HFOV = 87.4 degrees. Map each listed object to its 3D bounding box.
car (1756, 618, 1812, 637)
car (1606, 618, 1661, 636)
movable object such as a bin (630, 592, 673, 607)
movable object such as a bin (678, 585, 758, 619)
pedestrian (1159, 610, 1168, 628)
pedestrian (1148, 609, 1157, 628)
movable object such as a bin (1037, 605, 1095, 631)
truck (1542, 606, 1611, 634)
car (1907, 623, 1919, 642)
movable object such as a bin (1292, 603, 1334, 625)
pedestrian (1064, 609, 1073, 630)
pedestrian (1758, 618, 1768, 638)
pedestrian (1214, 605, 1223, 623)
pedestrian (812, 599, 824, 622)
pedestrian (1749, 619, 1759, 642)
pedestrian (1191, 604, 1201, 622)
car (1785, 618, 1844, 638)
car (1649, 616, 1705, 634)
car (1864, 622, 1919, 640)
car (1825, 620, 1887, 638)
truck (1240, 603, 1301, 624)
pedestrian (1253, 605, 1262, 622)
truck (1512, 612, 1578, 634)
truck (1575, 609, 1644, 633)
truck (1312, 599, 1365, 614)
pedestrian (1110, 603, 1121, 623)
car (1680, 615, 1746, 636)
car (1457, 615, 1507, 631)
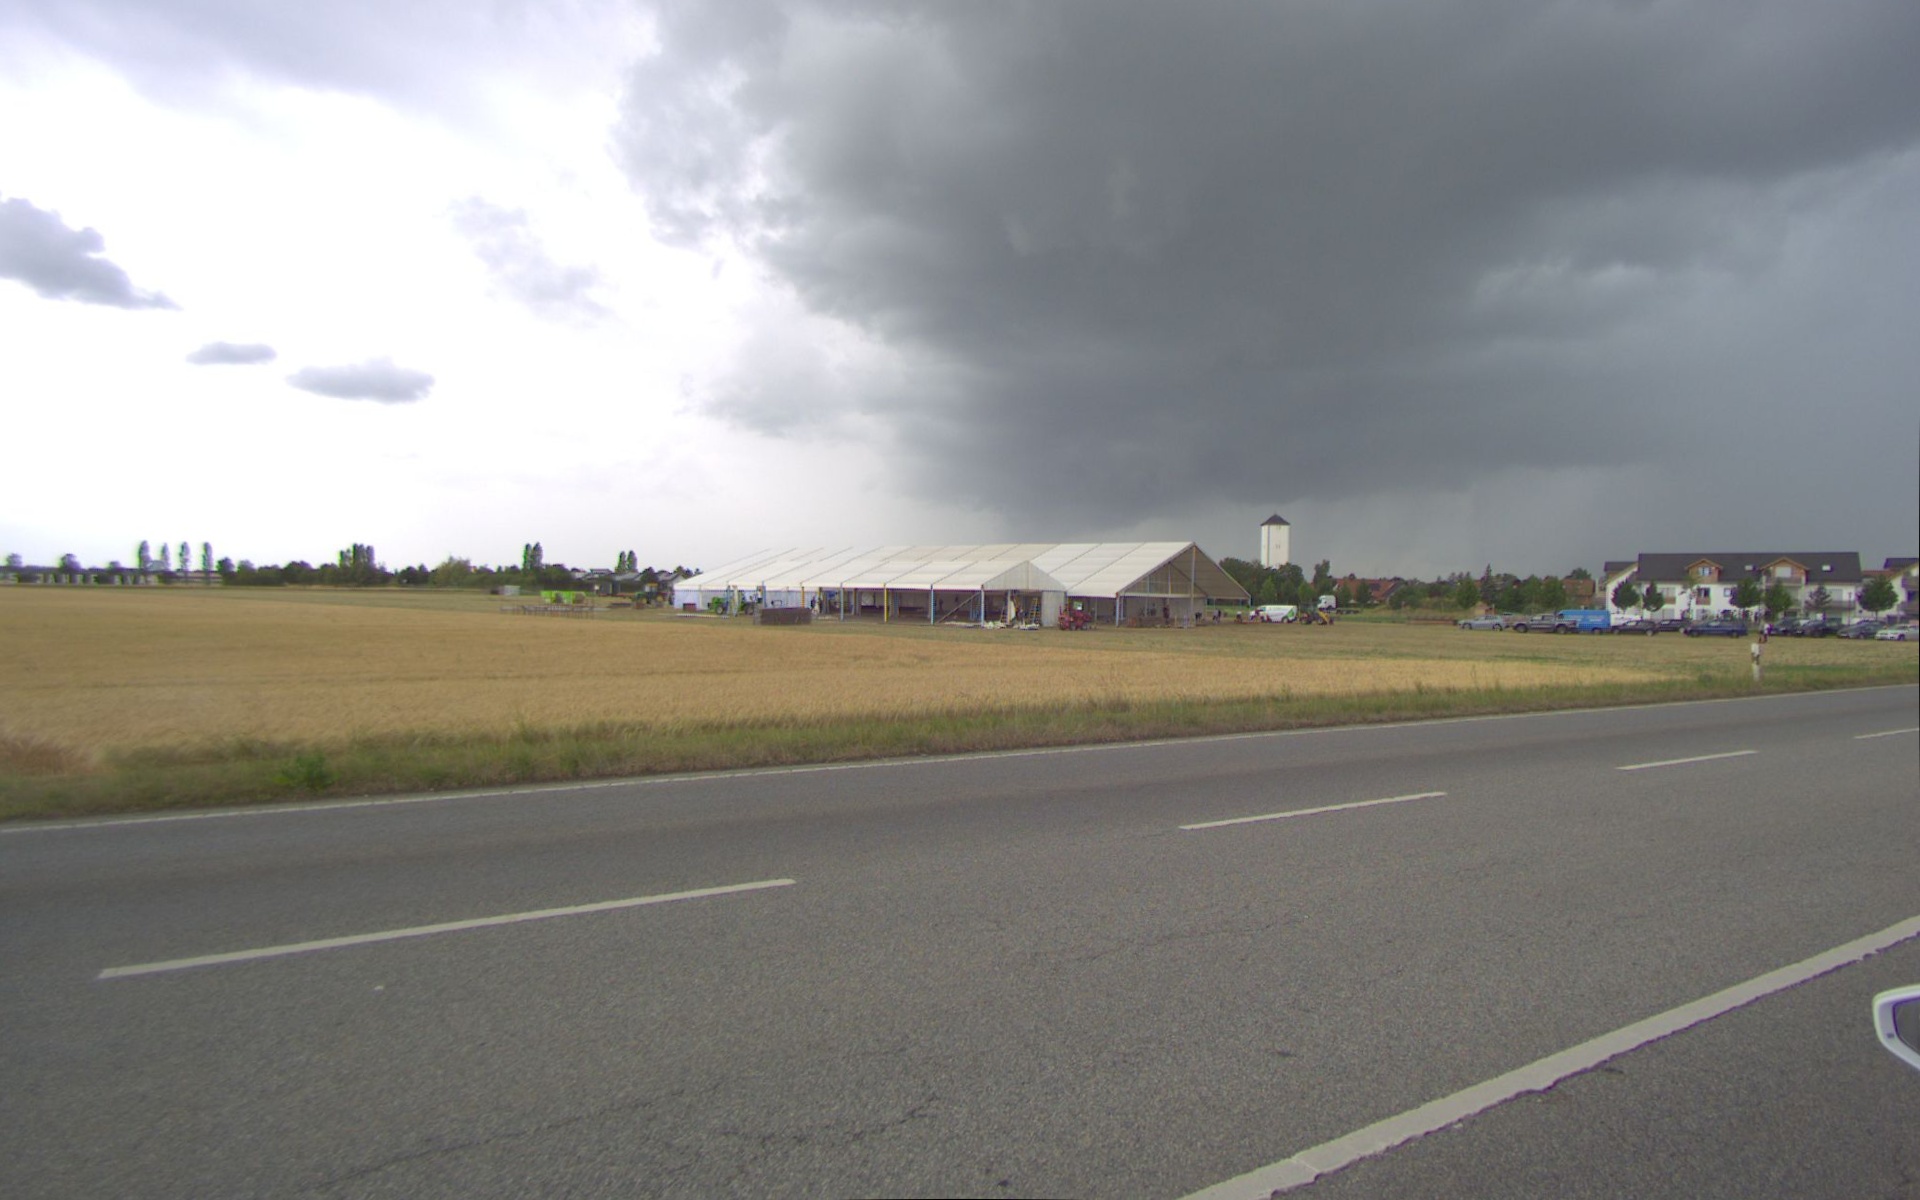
[{"bbox_3d":[77.297,2.569,94.227,4.139,1.650,1.995,1,0,-13],"label":"car"},{"bbox_3d":[63.226,2.494,94.271,4.104,1.539,1.991,1,0,39],"label":"car"},{"bbox_3d":[-44.776,-0.030,145.876,2.528,2.040,5.388,1,0,40],"label":"movable object such as a bin"},{"bbox_3d":[-24.331,0.198,100.841,7.464,3.219,4.141,2,0,39],"label":"movable object such as a bin"},{"bbox_3d":[20.290,1.867,100.026,0.644,1.767,0.726,1,0,31],"label":"pedestrian"},{"bbox_3d":[19.285,1.842,100.490,0.718,1.803,0.759,1,0,26],"label":"pedestrian"},{"bbox_3d":[8.209,1.408,77.292,2.555,1.889,4.458,1,0,36],"label":"movable object such as a bin"},{"bbox_3d":[57.841,1.850,94.278,5.377,2.478,2.385,1,0,37],"label":"truck"},{"bbox_3d":[80.285,2.687,82.302,4.139,1.465,1.995,1,0,-13],"label":"car"},{"bbox_3d":[37.236,1.461,105.931,3.928,2.273,1.881,1,0,31],"label":"movable object such as a bin"},{"bbox_3d":[8.709,1.560,80.549,0.463,1.649,0.581,1,0,37],"label":"pedestrian"},{"bbox_3d":[62.250,2.182,77.901,0.582,1.576,0.623,1,0,40],"label":"pedestrian"},{"bbox_3d":[26.838,1.464,104.207,0.616,1.890,0.705,1,0,40],"label":"pedestrian"},{"bbox_3d":[-12.708,0.957,90.048,1.005,2.040,0.806,1,0,-3],"label":"pedestrian"},{"bbox_3d":[61.179,2.346,77.386,0.673,1.809,0.543,1,0,-43],"label":"pedestrian"},{"bbox_3d":[23.383,1.270,99.480,0.679,1.799,0.692,1,0,36],"label":"pedestrian"},{"bbox_3d":[77.051,2.518,90.577,4.139,1.650,1.995,1,0,-13],"label":"car"},{"bbox_3d":[73.867,2.602,103.485,4.569,1.719,1.991,1,0,39],"label":"car"},{"bbox_3d":[79.096,2.598,84.926,4.139,1.465,1.995,1,0,-13],"label":"car"},{"bbox_3d":[78.123,2.530,87.592,4.139,1.556,1.995,1,0,-13],"label":"car"},{"bbox_3d":[34.564,1.461,111.956,5.959,2.246,2.714,1,0,32],"label":"truck"},{"bbox_3d":[31.248,1.444,105.436,0.681,1.799,0.690,1,0,45],"label":"pedestrian"},{"bbox_3d":[53.978,2.104,92.687,5.154,1.946,2.107,1,0,33],"label":"truck"},{"bbox_3d":[63.842,2.010,98.777,5.493,2.226,2.598,1,0,36],"label":"truck"},{"bbox_3d":[67.496,1.198,179.383,3.257,2.563,9.313,1,0,-26],"label":"truck"},{"bbox_3d":[15.404,1.294,99.584,0.755,2.040,0.874,1,0,-17],"label":"pedestrian"},{"bbox_3d":[67.932,2.269,90.635,4.658,1.719,1.991,1,0,39],"label":"car"},{"bbox_3d":[51.538,2.274,99.237,4.235,1.481,1.887,1,0,33],"label":"car"}]
